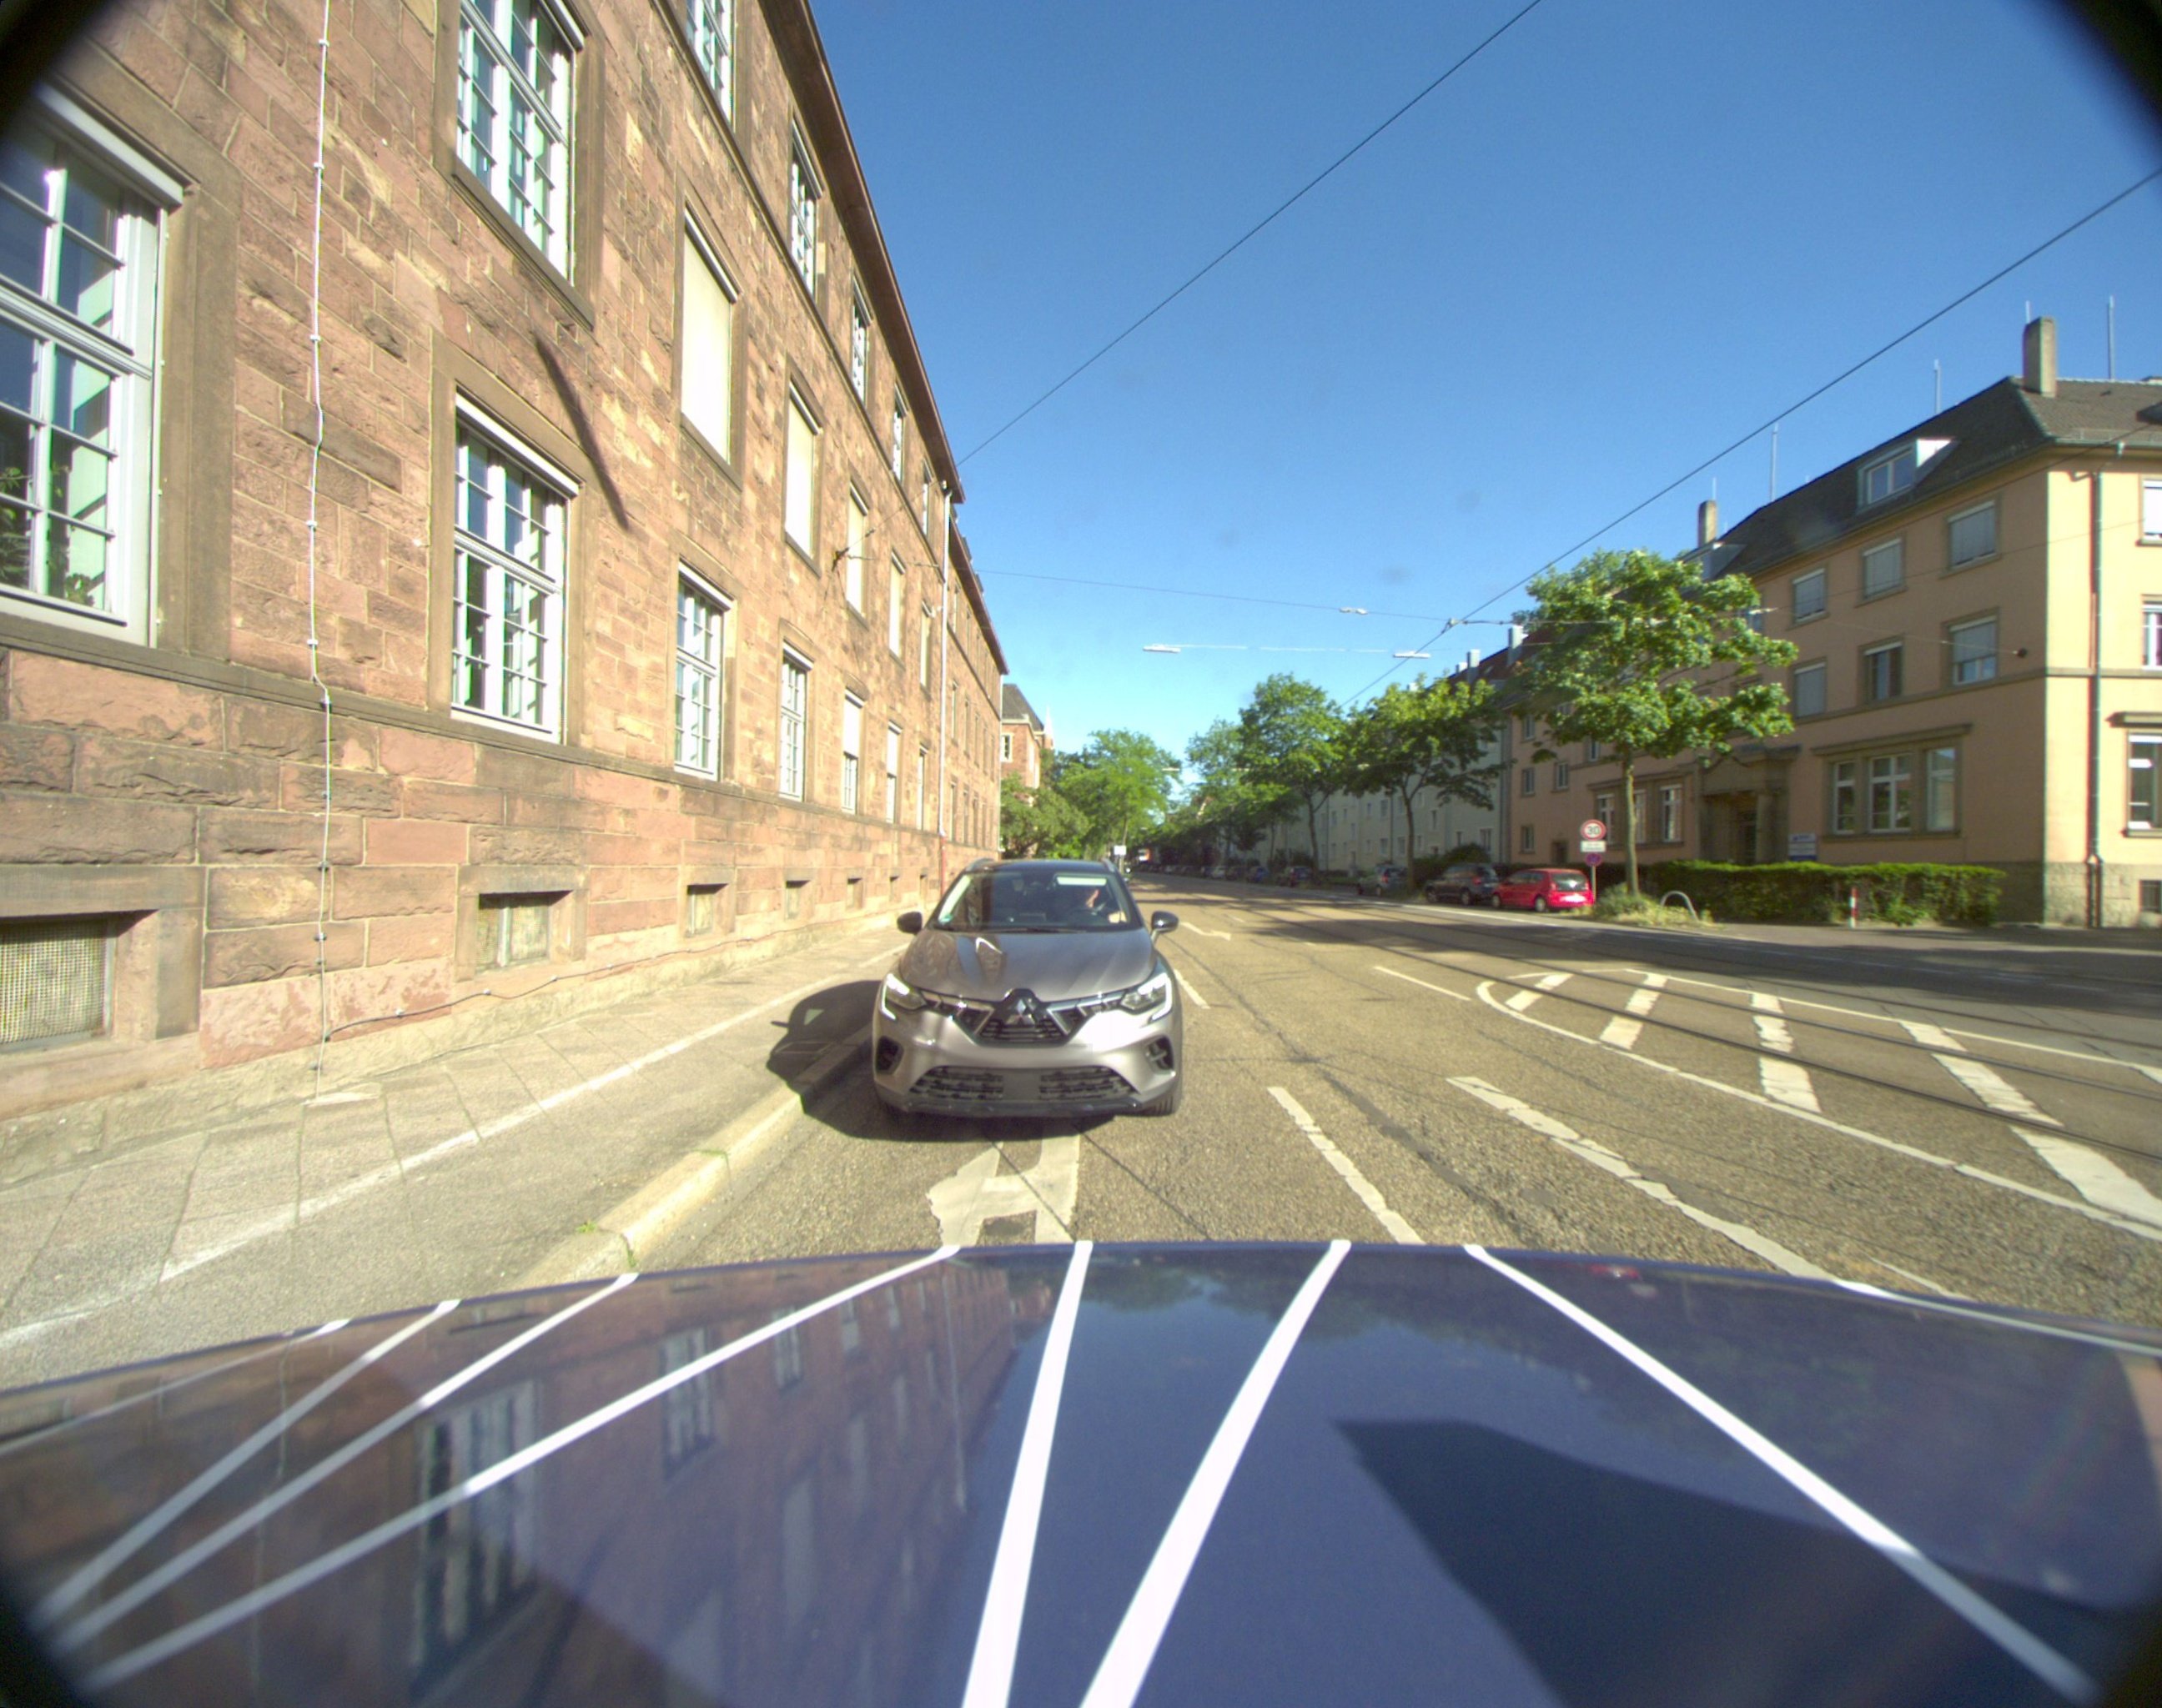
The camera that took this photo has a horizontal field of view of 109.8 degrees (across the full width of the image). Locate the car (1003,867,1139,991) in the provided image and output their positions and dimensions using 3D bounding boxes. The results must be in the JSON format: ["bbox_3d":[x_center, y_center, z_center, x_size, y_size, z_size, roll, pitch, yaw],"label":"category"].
[{"bbox_3d":[-0.184,1.034,12.023,1.796,1.595,3.799,0,0,-2],"label":"car"}]

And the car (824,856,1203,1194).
[{"bbox_3d":[-0.368,0.827,5.541,1.796,1.595,3.799,0,0,-2],"label":"car"}]

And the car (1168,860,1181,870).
[{"bbox_3d":[16.579,1.951,135.219,1.816,1.768,3.630,1,0,-2],"label":"car"}]

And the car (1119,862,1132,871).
[{"bbox_3d":[7.267,2.046,124.031,1.912,1.510,4.000,1,0,-1],"label":"car"}]

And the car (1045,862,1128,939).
[{"bbox_3d":[0.069,1.017,18.470,1.796,1.638,4.083,0,0,-2],"label":"car"}]

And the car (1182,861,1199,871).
[{"bbox_3d":[16.033,1.751,111.646,1.816,1.411,3.630,1,0,-2],"label":"car"}]

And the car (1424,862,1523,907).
[{"bbox_3d":[15.640,1.174,30.527,1.816,1.648,3.819,1,0,-3],"label":"car"}]

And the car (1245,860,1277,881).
[{"bbox_3d":[15.966,1.424,67.474,1.816,1.814,3.795,1,0,-2],"label":"car"}]

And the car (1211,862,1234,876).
[{"bbox_3d":[16.023,1.675,85.910,1.816,1.411,3.630,1,0,-2],"label":"car"}]

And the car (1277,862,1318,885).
[{"bbox_3d":[15.785,1.433,55.581,1.816,1.589,3.630,1,0,-2],"label":"car"}]

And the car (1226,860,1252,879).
[{"bbox_3d":[15.894,1.536,76.552,1.816,1.929,3.630,1,0,-2],"label":"car"}]

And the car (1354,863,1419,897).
[{"bbox_3d":[15.727,1.305,39.337,1.816,1.648,3.877,1,0,1],"label":"car"}]

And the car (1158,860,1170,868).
[{"bbox_3d":[15.967,1.860,146.856,1.816,1.514,3.630,1,0,-2],"label":"car"}]

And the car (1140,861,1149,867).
[{"bbox_3d":[16.055,2.494,191.282,1.816,1.411,3.630,1,0,-2],"label":"car"}]

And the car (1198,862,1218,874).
[{"bbox_3d":[15.838,1.764,94.837,1.816,1.411,3.630,1,0,-2],"label":"car"}]

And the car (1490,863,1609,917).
[{"bbox_3d":[15.850,1.170,25.919,1.816,1.696,3.374,1,0,-3],"label":"car"}]
